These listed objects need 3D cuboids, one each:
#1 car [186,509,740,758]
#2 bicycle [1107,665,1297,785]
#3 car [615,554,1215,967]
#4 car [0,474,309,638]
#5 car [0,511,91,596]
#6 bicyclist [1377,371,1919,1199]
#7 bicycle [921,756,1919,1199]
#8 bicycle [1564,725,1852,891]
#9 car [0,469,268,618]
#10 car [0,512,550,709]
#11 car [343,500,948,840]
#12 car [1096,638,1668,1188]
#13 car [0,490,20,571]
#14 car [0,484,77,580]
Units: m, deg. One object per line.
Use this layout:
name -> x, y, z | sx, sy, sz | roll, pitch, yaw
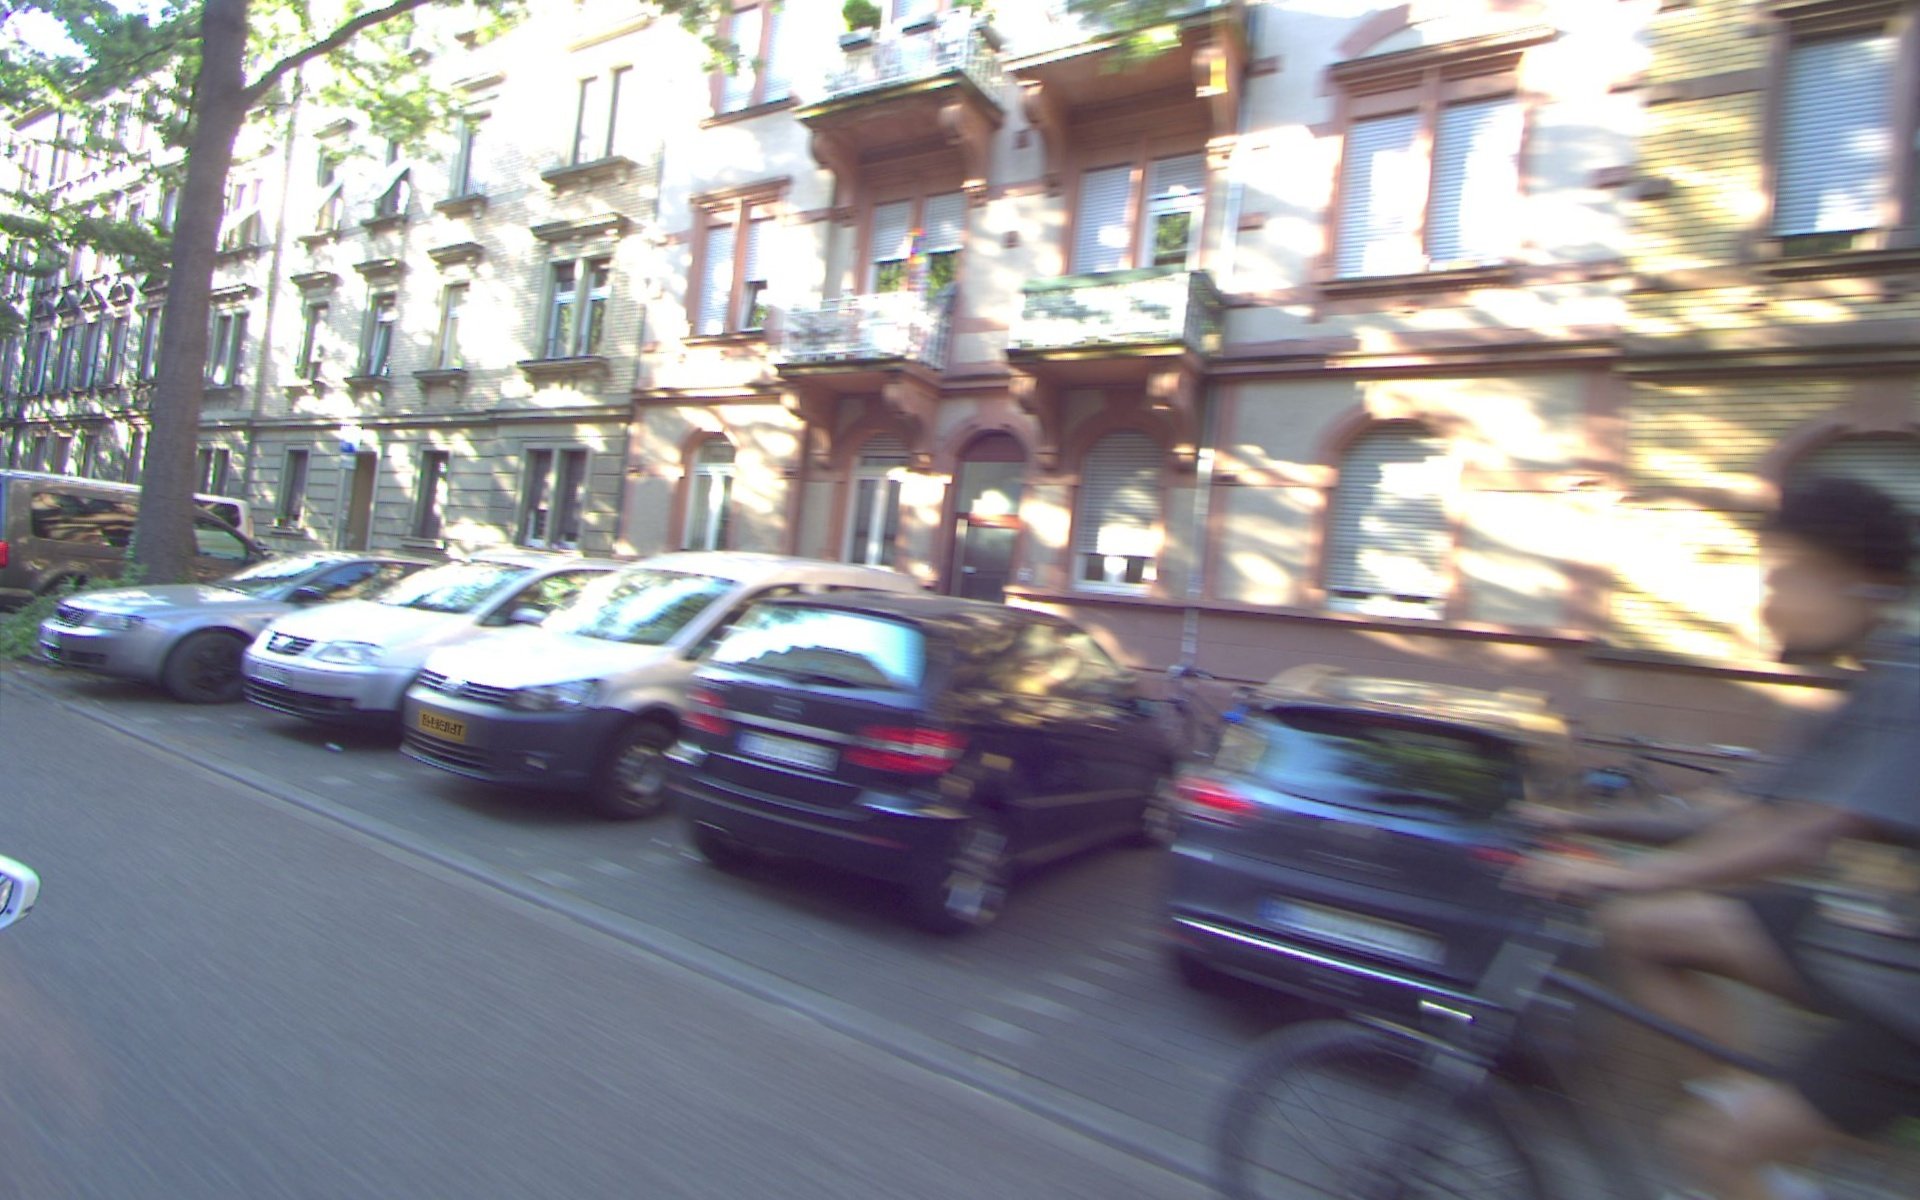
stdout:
car -> -4.167, 0.312, 9.244 | 1.803, 1.631, 4.229 | 6, 0, 27
bicycle -> 2.628, 1.327, 11.041 | 1.862, 1.013, 0.553 | 6, 1, 33
car -> 0.089, 0.776, 6.333 | 1.705, 1.627, 4.014 | 6, -1, 31
car -> -11.093, -0.522, 13.080 | 1.800, 1.817, 4.236 | 6, 0, 13
car -> -16.804, -0.909, 16.189 | 1.688, 1.310, 3.856 | 6, 0, 29
bicyclist -> 1.577, 0.597, 1.941 | 1.187, 1.811, 0.997 | 6, -1, 32
bicycle -> 1.422, 1.156, 2.003 | 2.875, 1.172, 0.997 | 6, -1, 32
bicycle -> 6.368, 1.736, 8.700 | 1.862, 1.013, 0.553 | 6, 1, 33
car -> -13.922, -0.908, 15.413 | 1.805, 1.949, 5.061 | 6, 0, 32
car -> -6.508, 0.163, 10.049 | 1.803, 1.421, 4.229 | 6, 0, 27
car -> -2.035, 0.469, 7.791 | 1.804, 1.799, 4.226 | 6, 0, 31
car -> 2.356, 1.082, 5.169 | 1.705, 1.486, 4.014 | 6, -1, 31
car -> -22.194, -1.683, 20.618 | 1.688, 1.721, 3.856 | 6, 0, 29
car -> -20.150, -1.512, 19.702 | 1.688, 1.819, 3.856 | 6, 0, 29
